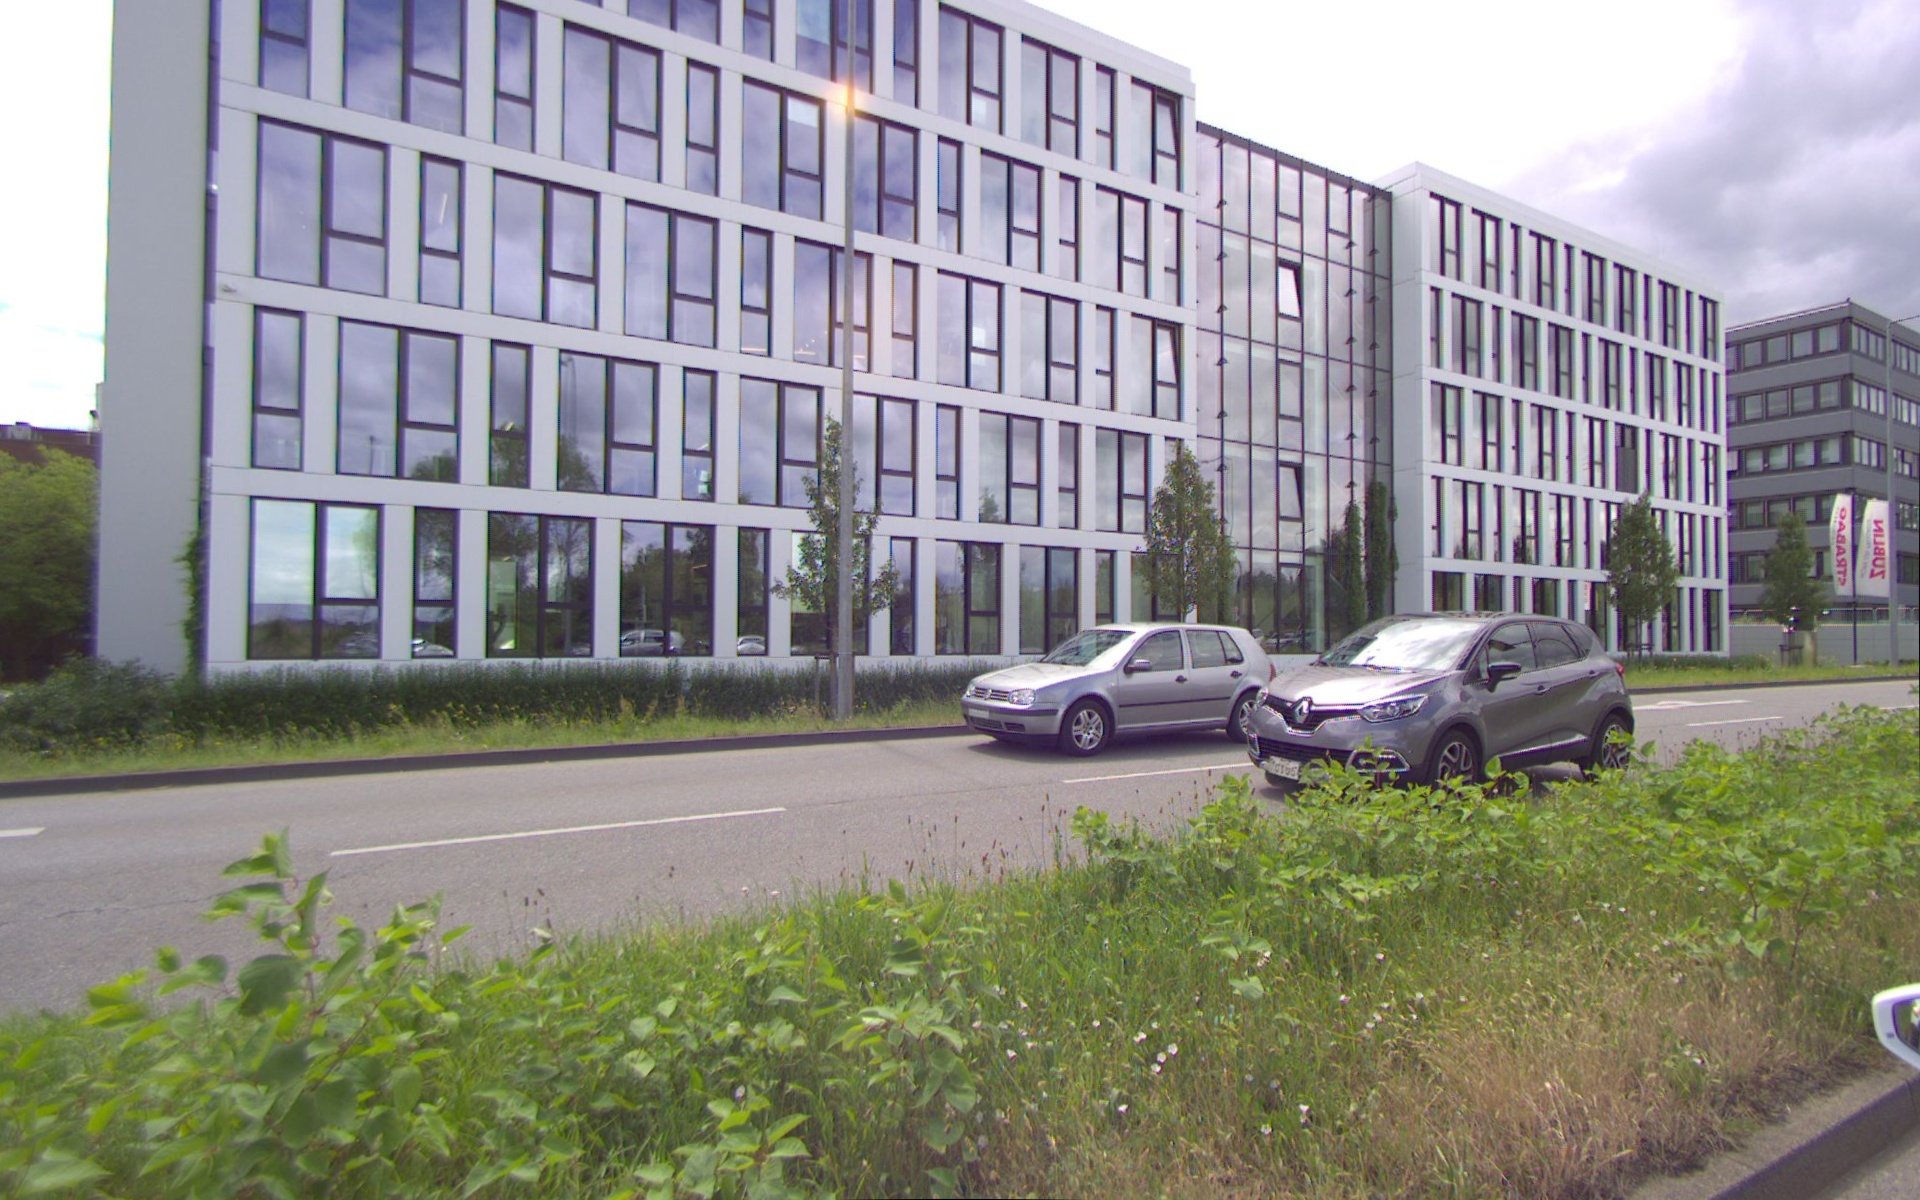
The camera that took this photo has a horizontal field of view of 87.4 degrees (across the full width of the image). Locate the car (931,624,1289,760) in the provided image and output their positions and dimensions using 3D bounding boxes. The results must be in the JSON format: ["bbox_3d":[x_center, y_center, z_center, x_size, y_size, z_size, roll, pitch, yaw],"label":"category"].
[{"bbox_3d":[1.842,0.987,12.150,3.953,1.372,1.984,1,-1,-30],"label":"car"}]

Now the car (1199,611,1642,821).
[{"bbox_3d":[4.309,0.892,9.267,3.957,1.537,1.924,1,-1,-33],"label":"car"}]
